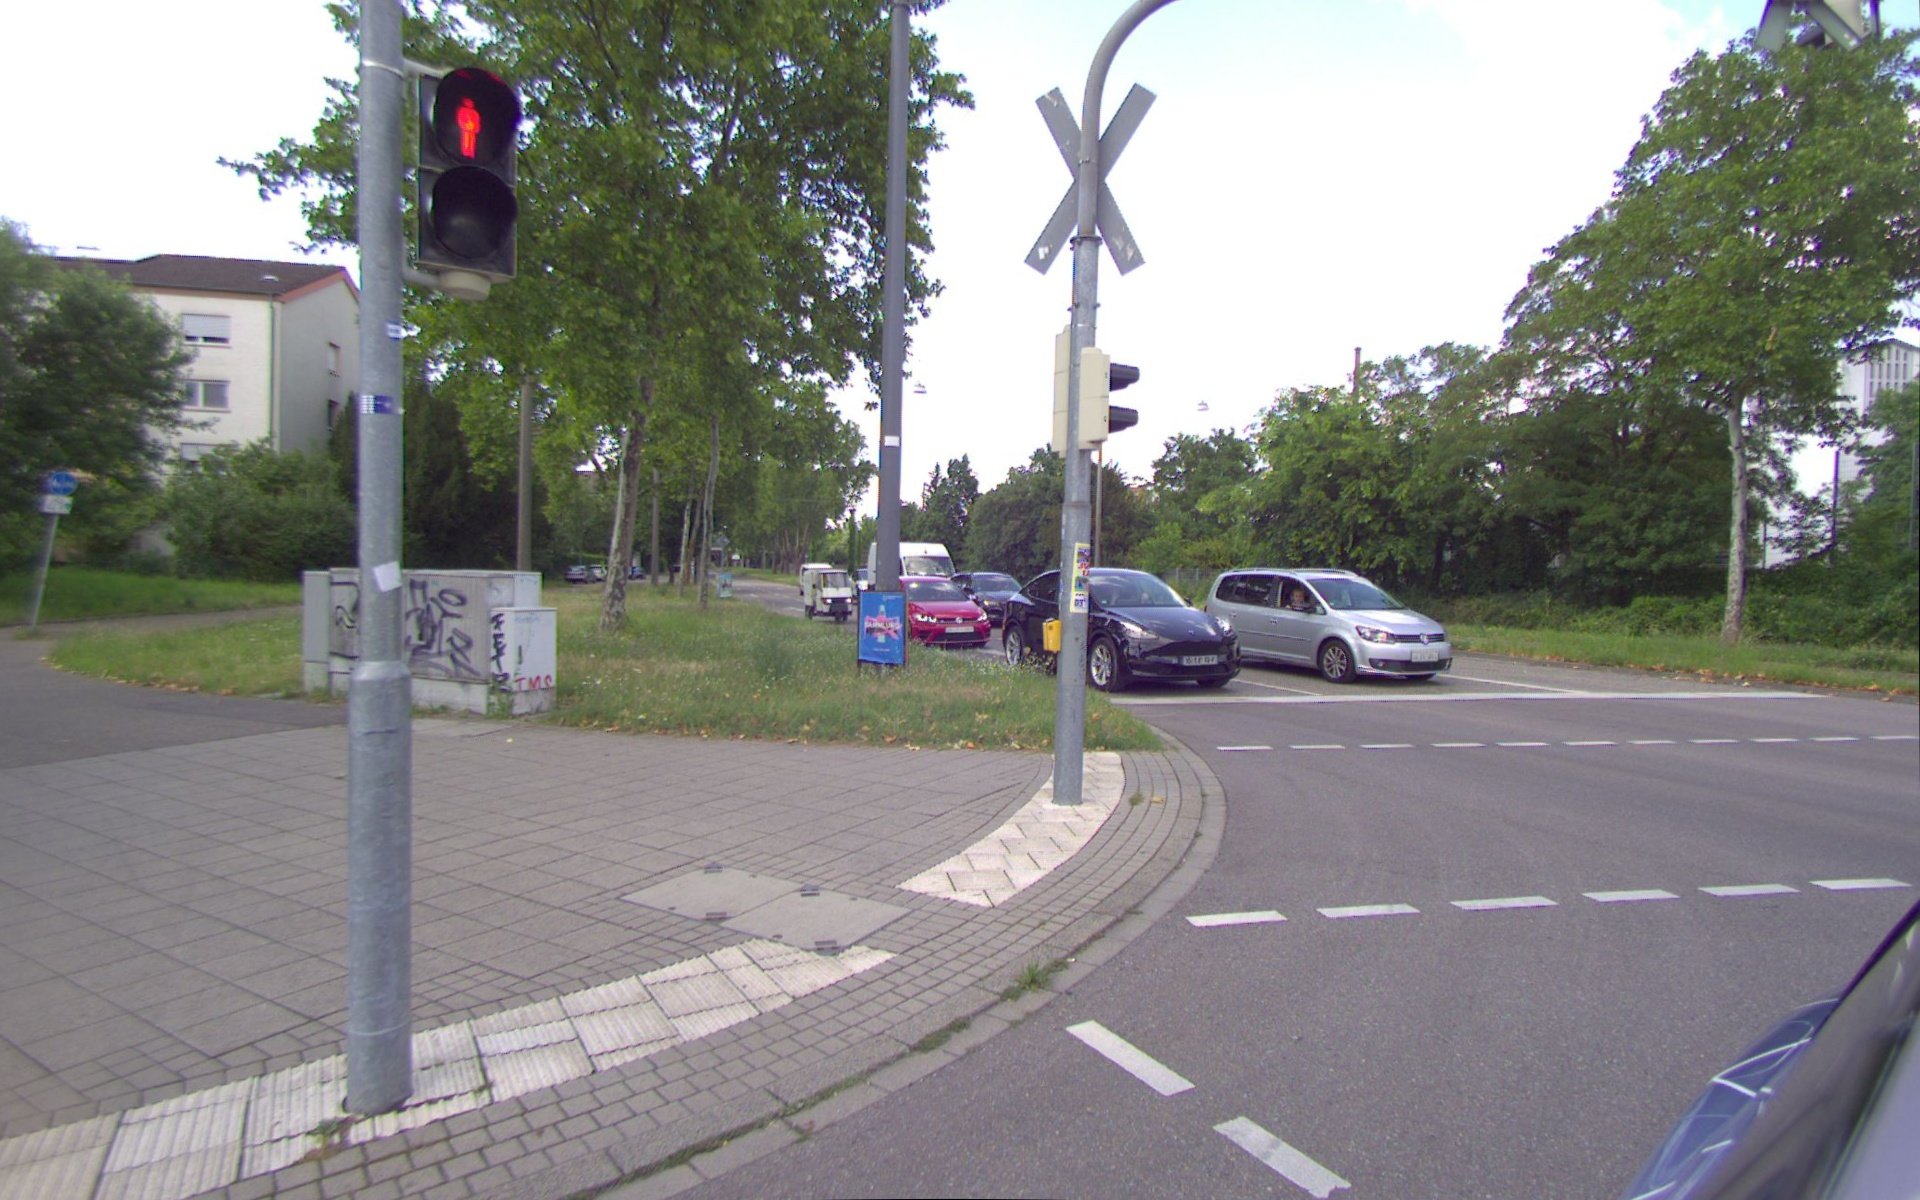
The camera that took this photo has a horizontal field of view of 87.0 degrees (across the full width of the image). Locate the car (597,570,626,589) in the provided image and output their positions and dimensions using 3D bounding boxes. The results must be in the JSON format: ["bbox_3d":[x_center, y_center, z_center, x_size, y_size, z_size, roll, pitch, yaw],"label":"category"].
[{"bbox_3d":[-31.811,-1.835,92.490,1.741,1.616,3.660,1,0,-6],"label":"car"}]

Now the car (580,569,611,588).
[{"bbox_3d":[-31.733,-1.850,88.219,1.741,1.616,3.660,1,0,-6],"label":"car"}]

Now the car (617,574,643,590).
[{"bbox_3d":[-33.671,-1.813,103.378,1.741,1.616,3.660,1,0,-6],"label":"car"}]

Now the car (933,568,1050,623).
[{"bbox_3d":[0.790,-0.199,28.678,1.728,1.392,4.353,-1,2,-22],"label":"car"}]

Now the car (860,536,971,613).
[{"bbox_3d":[-1.754,-0.967,36.825,2.181,2.561,5.947,-1,2,-22],"label":"car"}]

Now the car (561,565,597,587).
[{"bbox_3d":[-29.798,-1.864,79.178,1.741,1.616,3.660,1,0,-6],"label":"car"}]

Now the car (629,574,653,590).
[{"bbox_3d":[-35.032,-1.962,111.169,1.741,1.616,3.660,1,0,-6],"label":"car"}]

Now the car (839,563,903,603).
[{"bbox_3d":[-3.980,-0.794,44.605,1.805,1.638,4.166,0,2,-20],"label":"car"}]

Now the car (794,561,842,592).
[{"bbox_3d":[-8.191,-1.372,57.970,1.728,1.667,4.353,1,2,-22],"label":"car"}]

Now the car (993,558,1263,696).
[{"bbox_3d":[2.218,0.232,14.834,1.891,1.672,4.591,-1,2,-20],"label":"car"}]

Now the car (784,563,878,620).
[{"bbox_3d":[-4.003,-0.325,30.736,1.764,1.589,4.512,-1,2,-22],"label":"car"}]

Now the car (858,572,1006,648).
[{"bbox_3d":[-0.736,0.126,21.975,1.764,1.408,4.512,-1,2,-22],"label":"car"}]

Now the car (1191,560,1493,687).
[{"bbox_3d":[5.727,0.213,15.866,1.890,1.672,4.512,-1,2,-22],"label":"car"}]
